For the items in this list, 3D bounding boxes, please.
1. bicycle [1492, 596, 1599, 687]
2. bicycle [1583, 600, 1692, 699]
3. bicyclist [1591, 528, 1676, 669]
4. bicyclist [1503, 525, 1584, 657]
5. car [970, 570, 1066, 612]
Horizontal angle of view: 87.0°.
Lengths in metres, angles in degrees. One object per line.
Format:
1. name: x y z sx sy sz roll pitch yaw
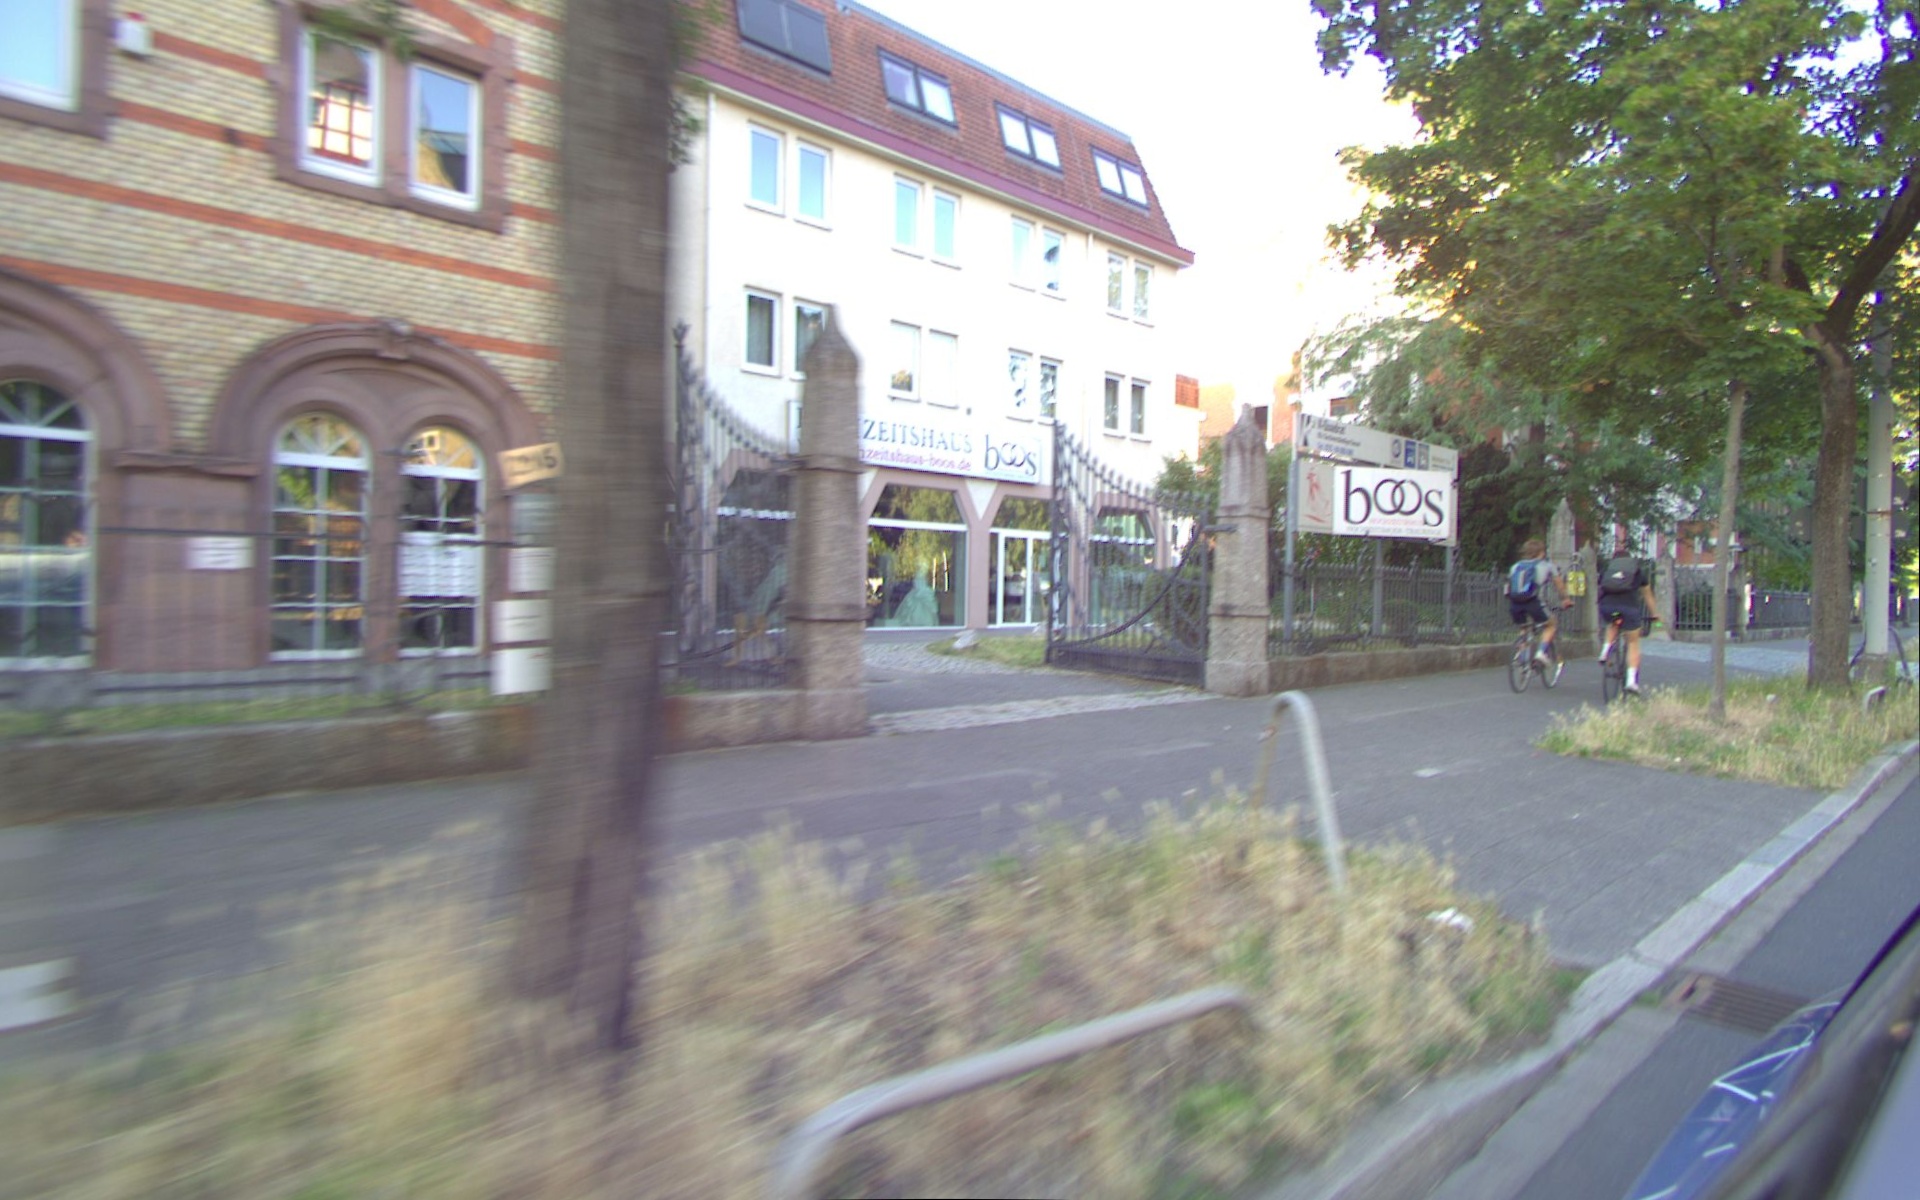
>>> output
1. bicycle: 7.281 0.475 12.533 2.052 1.053 0.518 0 -1 -42
2. bicycle: 7.895 0.529 11.754 2.052 1.053 0.545 0 -1 -42
3. bicyclist: 7.796 -0.016 11.705 0.878 1.551 0.596 0 -1 -41
4. bicyclist: 7.154 -0.103 12.400 0.878 1.551 0.596 0 -1 -41
5. car: 2.565 -0.435 45.515 1.788 1.503 4.455 0 5 -37
